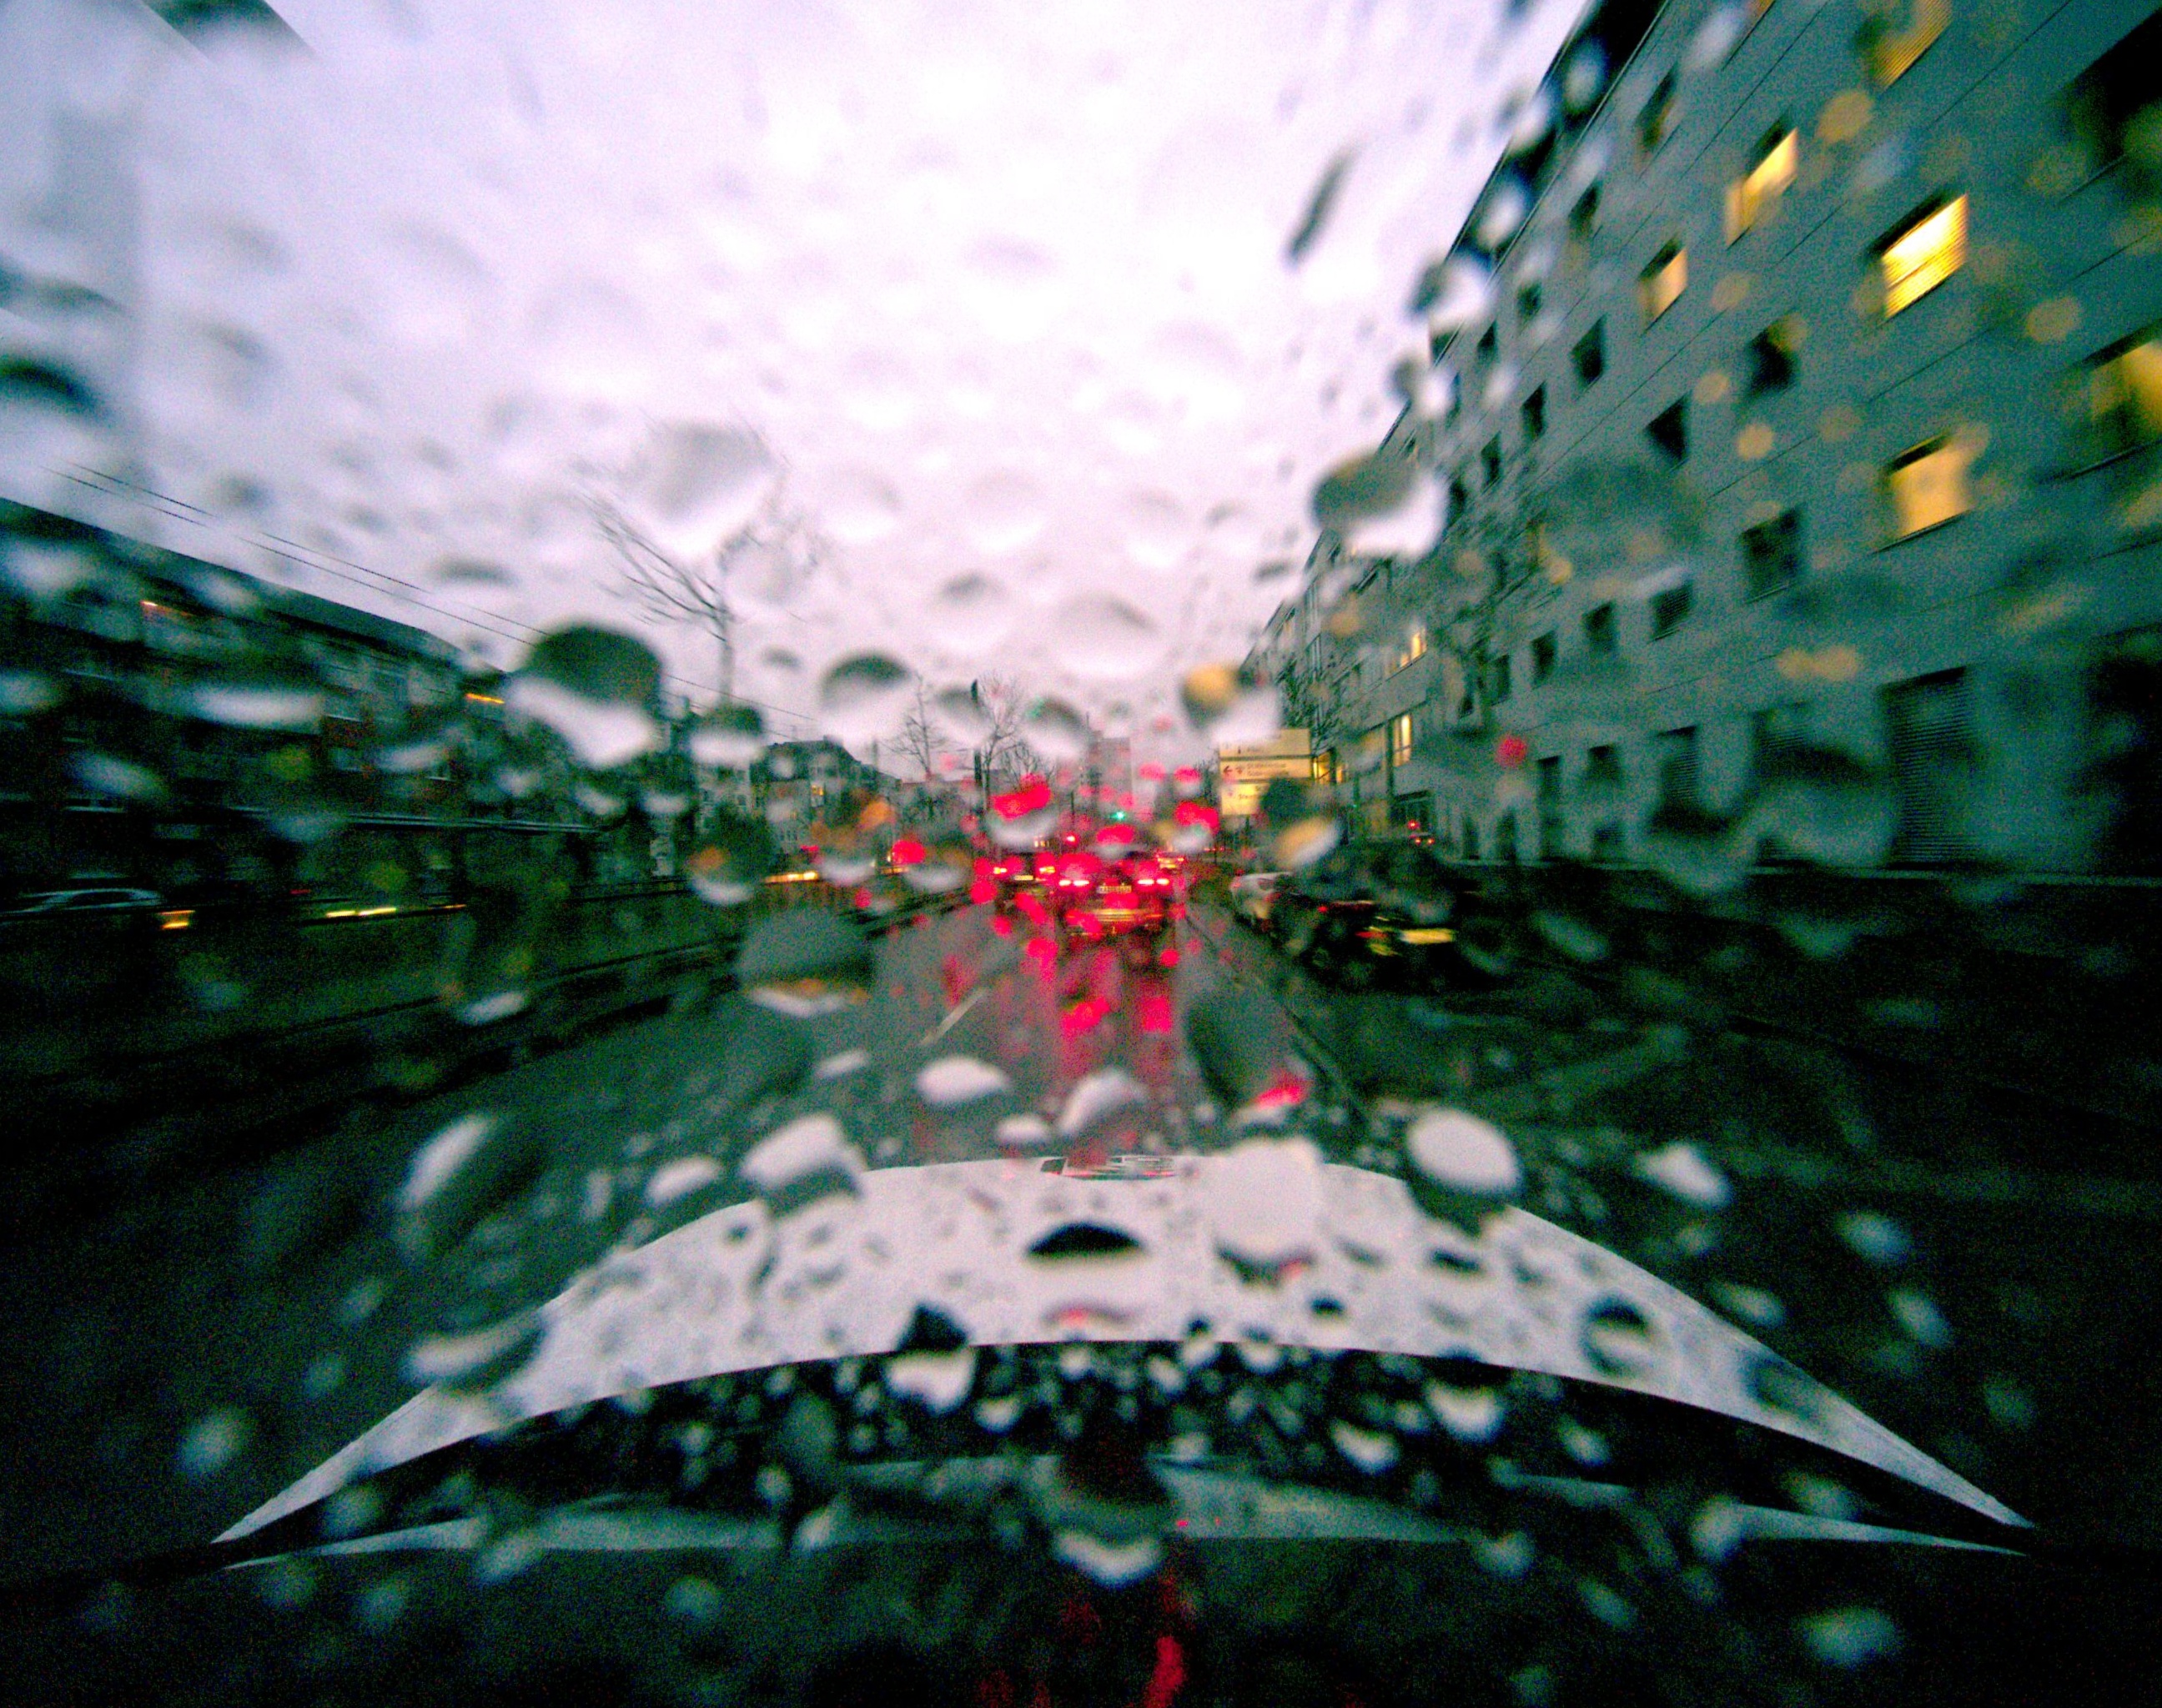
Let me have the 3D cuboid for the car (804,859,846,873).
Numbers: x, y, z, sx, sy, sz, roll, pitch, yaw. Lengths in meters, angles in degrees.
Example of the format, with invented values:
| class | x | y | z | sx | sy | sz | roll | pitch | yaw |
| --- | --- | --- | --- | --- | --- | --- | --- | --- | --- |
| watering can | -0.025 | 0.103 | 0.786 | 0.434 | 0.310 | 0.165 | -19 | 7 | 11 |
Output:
| class | x | y | z | sx | sy | sz | roll | pitch | yaw |
| --- | --- | --- | --- | --- | --- | --- | --- | --- | --- |
| car | -26.505 | 1.238 | 84.416 | 3.788 | 1.366 | 1.697 | -1 | -1 | -2 |

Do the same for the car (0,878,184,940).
| class | x | y | z | sx | sy | sz | roll | pitch | yaw |
| --- | --- | --- | --- | --- | --- | --- | --- | --- | --- |
| car | -28.682 | 1.496 | 23.108 | 1.718 | 1.544 | 4.153 | -1 | -1 | 2 |

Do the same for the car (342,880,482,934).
| class | x | y | z | sx | sy | sz | roll | pitch | yaw |
| --- | --- | --- | --- | --- | --- | --- | --- | --- | --- |
| car | -24.259 | 1.869 | 29.747 | 1.684 | 1.759 | 4.002 | -1 | -1 | 2 |

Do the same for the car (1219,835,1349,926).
| class | x | y | z | sx | sy | sz | roll | pitch | yaw |
| --- | --- | --- | --- | --- | --- | --- | --- | --- | --- |
| car | 3.605 | 0.421 | 15.033 | 1.585 | 1.394 | 3.489 | -4 | 0 | 2 |

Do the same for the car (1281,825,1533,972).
| class | x | y | z | sx | sy | sz | roll | pitch | yaw |
| --- | --- | --- | --- | --- | --- | --- | --- | --- | --- |
| car | 3.655 | 0.412 | 9.974 | 1.745 | 1.403 | 4.257 | -1 | 0 | 6 |

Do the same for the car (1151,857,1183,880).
| class | x | y | z | sx | sy | sz | roll | pitch | yaw |
| --- | --- | --- | --- | --- | --- | --- | --- | --- | --- |
| car | 5.548 | 0.937 | 52.989 | 1.879 | 1.353 | 4.105 | -1 | 0 | 3 |

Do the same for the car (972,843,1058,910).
| class | x | y | z | sx | sy | sz | roll | pitch | yaw |
| --- | --- | --- | --- | --- | --- | --- | --- | --- | --- |
| car | -1.793 | 0.612 | 23.405 | 1.986 | 1.712 | 4.325 | -1 | -1 | 1 |

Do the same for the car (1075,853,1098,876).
| class | x | y | z | sx | sy | sz | roll | pitch | yaw |
| --- | --- | --- | --- | --- | --- | --- | --- | --- | --- |
| car | 0.593 | 0.989 | 79.294 | 1.944 | 2.033 | 4.887 | -1 | 0 | 3 |

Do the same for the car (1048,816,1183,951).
| class | x | y | z | sx | sy | sz | roll | pitch | yaw |
| --- | --- | --- | --- | --- | --- | --- | --- | --- | --- |
| car | 0.517 | 0.468 | 14.098 | 1.987 | 1.976 | 4.067 | -1 | -1 | 0 |
